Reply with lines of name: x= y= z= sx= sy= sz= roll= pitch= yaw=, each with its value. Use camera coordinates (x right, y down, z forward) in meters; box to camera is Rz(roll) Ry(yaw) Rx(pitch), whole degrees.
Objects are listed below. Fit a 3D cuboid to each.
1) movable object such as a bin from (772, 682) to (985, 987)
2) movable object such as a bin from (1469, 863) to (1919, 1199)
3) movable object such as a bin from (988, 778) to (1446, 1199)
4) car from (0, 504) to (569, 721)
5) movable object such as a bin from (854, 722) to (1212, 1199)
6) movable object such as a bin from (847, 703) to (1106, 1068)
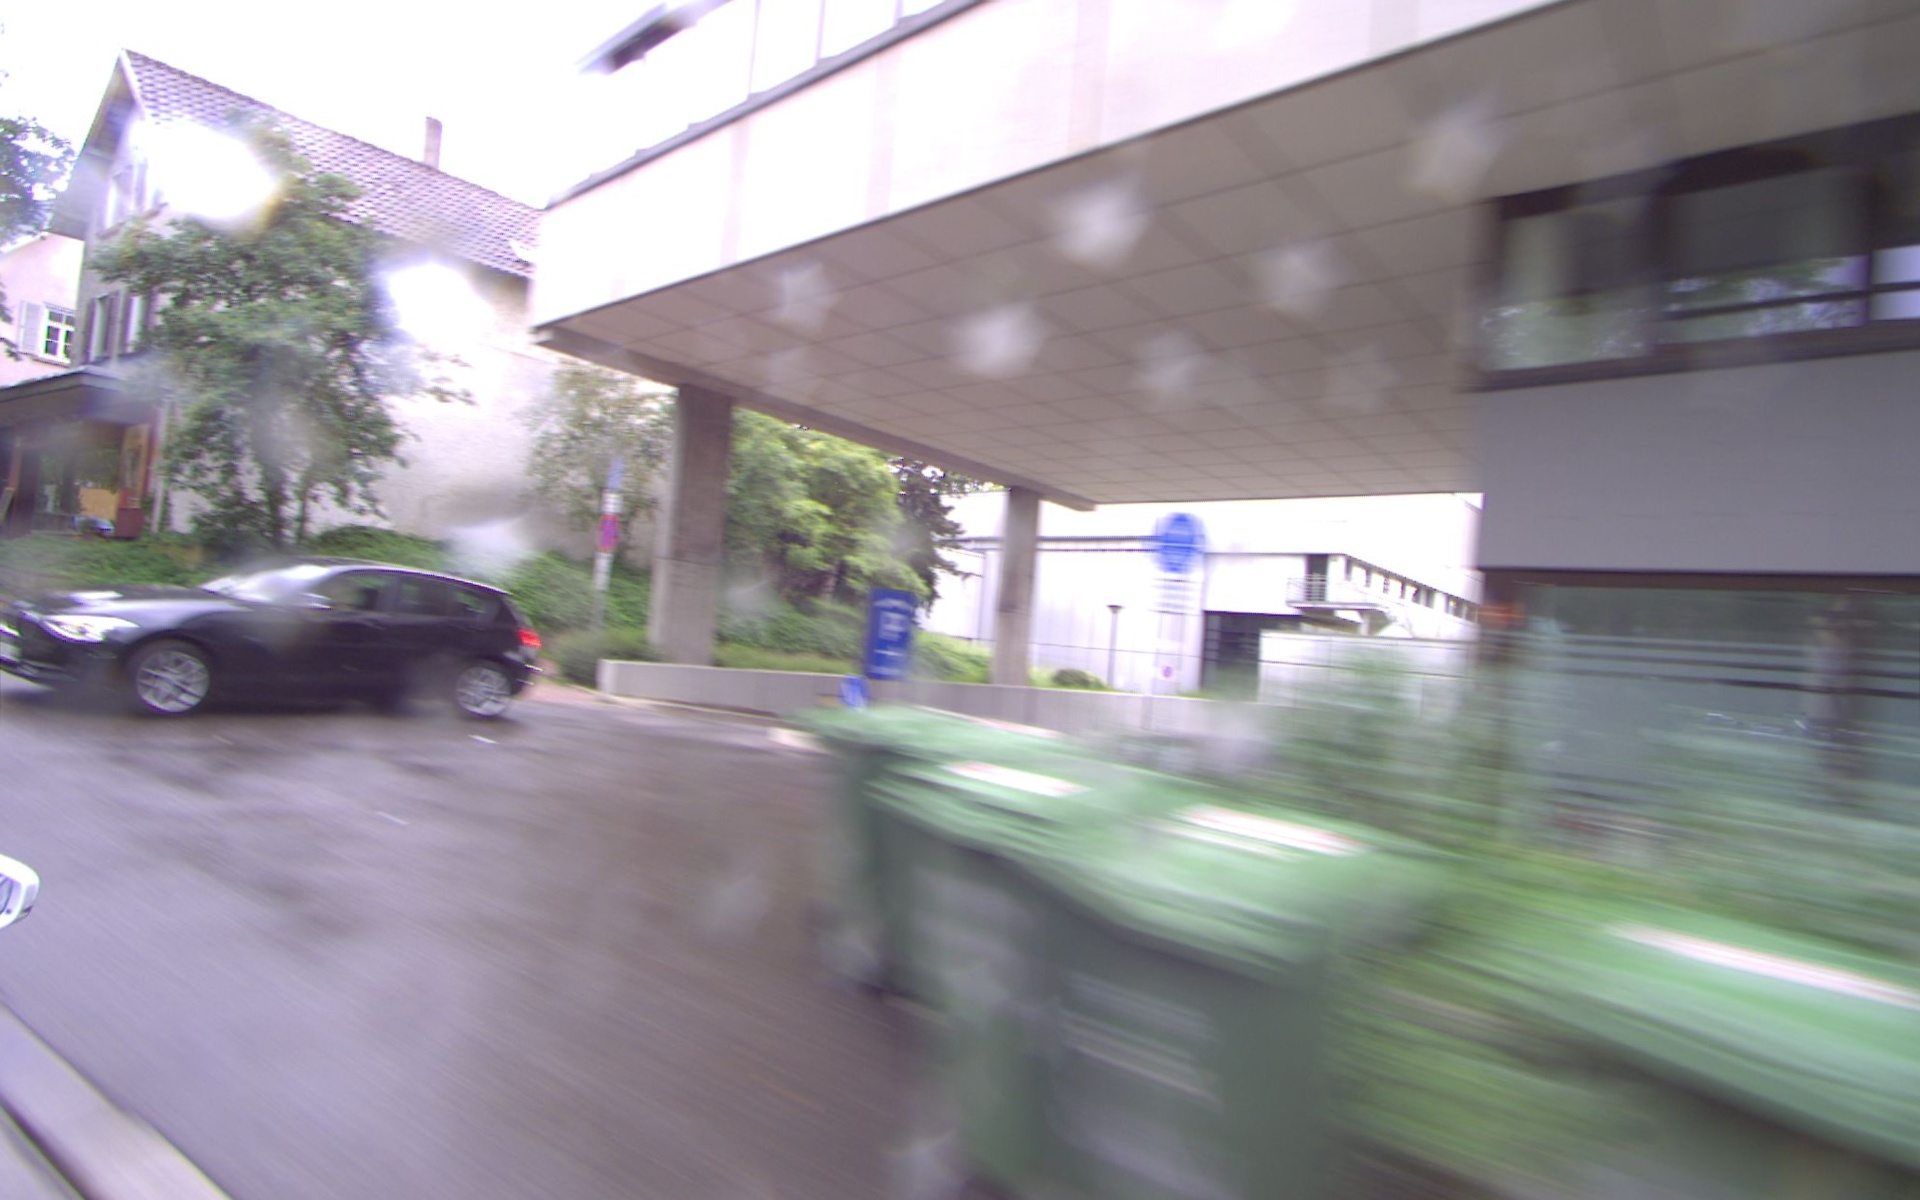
movable object such as a bin: x=-0.358 y=0.947 z=4.189 sx=0.694 sy=1.116 sz=0.570 roll=6 pitch=0 yaw=-15
movable object such as a bin: x=1.228 y=1.081 z=1.596 sx=0.701 sy=1.138 sz=0.565 roll=6 pitch=-1 yaw=-42
movable object such as a bin: x=0.539 y=1.002 z=2.196 sx=0.698 sy=1.121 sz=0.567 roll=6 pitch=0 yaw=-31
car: x=-6.122 y=0.246 z=9.376 sx=1.809 sy=1.432 sz=4.293 roll=7 pitch=-3 yaw=31
movable object such as a bin: x=0.194 y=0.948 z=2.793 sx=0.698 sy=1.124 sz=0.566 roll=6 pitch=0 yaw=-33
movable object such as a bin: x=0.036 y=0.977 z=3.584 sx=0.694 sy=1.116 sz=0.570 roll=6 pitch=0 yaw=-15
